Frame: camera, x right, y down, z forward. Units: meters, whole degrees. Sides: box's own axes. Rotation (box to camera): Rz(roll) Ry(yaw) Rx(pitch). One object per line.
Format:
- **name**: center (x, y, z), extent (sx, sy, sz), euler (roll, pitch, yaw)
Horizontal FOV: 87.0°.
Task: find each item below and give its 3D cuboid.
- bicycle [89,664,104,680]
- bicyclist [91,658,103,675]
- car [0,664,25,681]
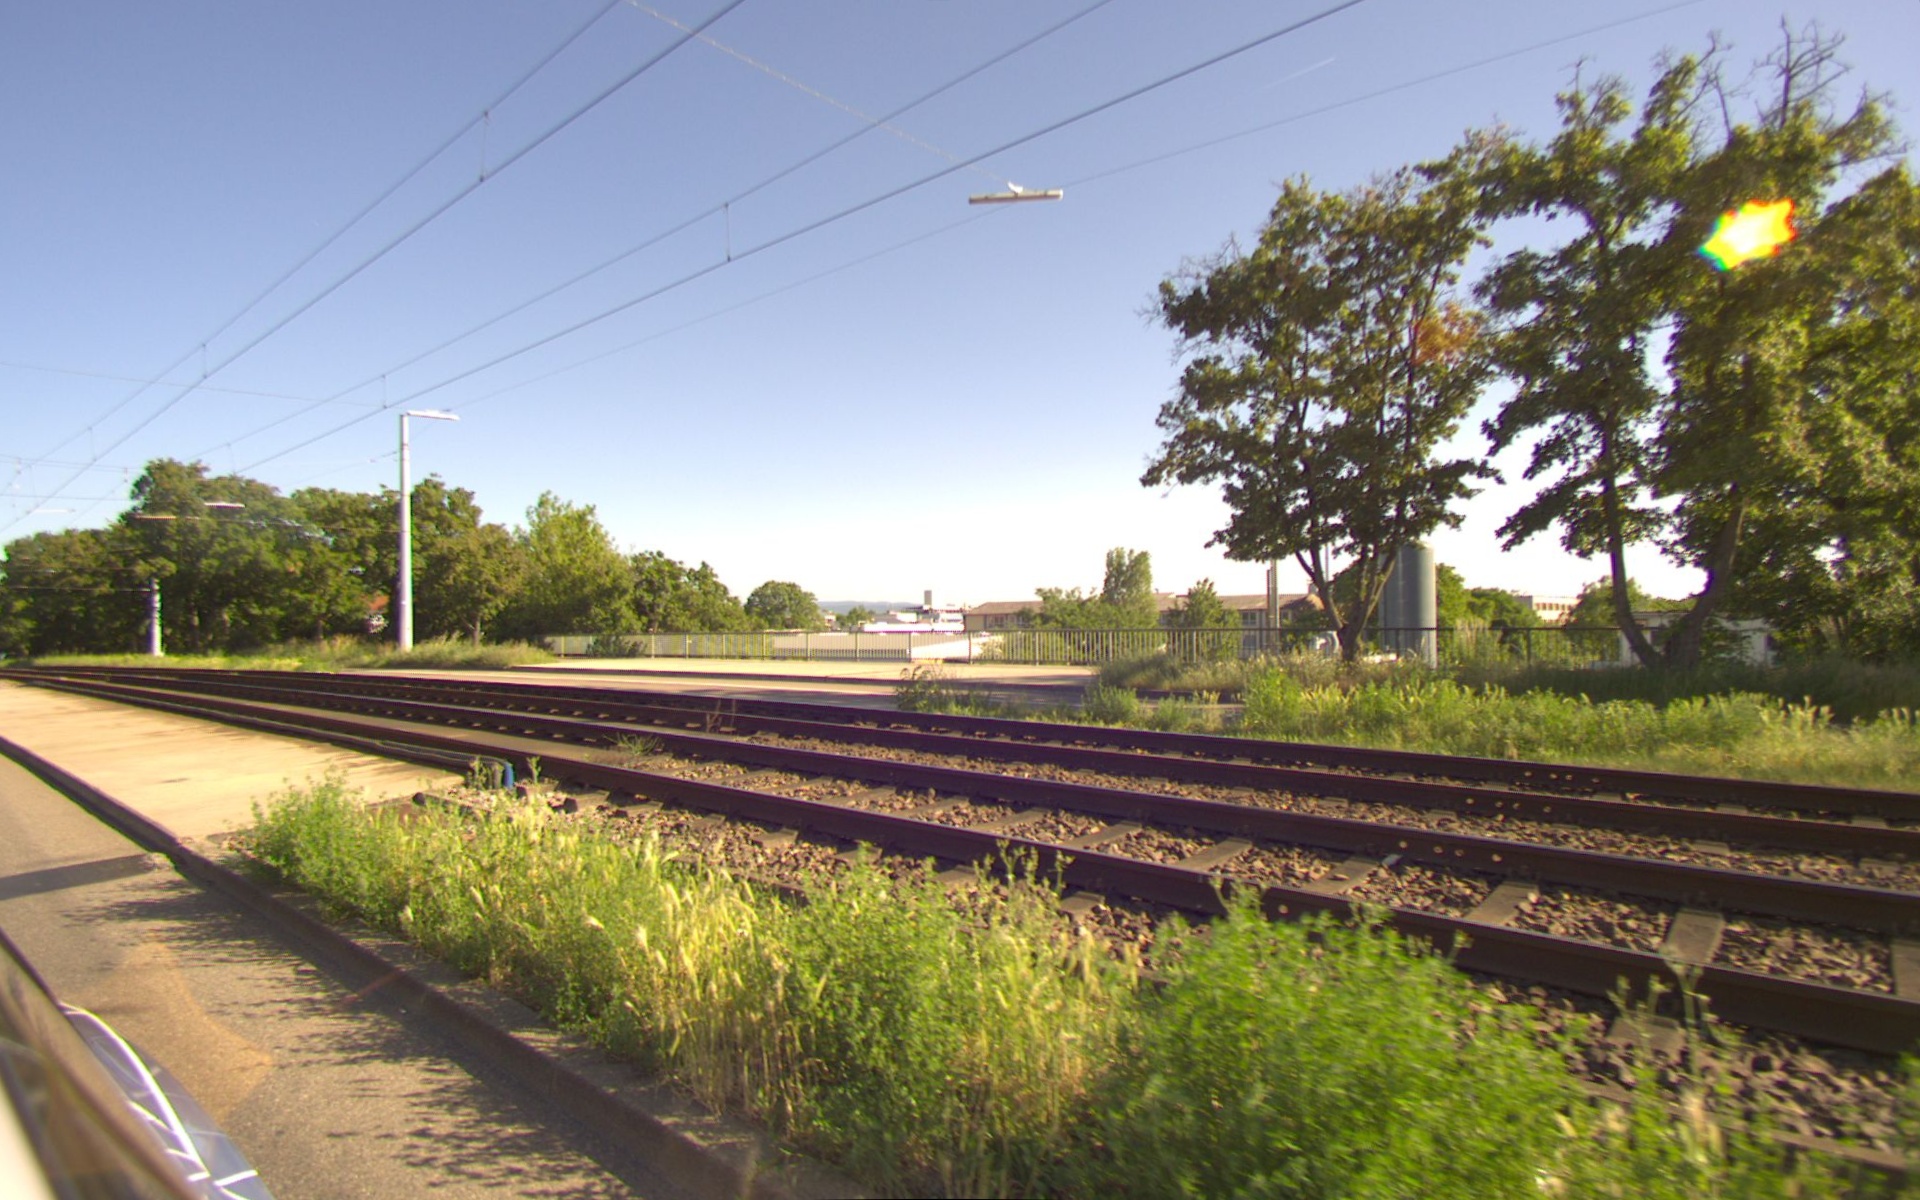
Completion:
- **bicycle**: center (-70.340, 5.868, 82.452), extent (2.426, 1.271, 0.583), euler (-4, -2, 42)
- **bicyclist**: center (-70.366, 5.411, 82.481), extent (0.987, 1.320, 0.576), euler (-4, -2, 42)
- **car**: center (-91.474, 6.975, 97.445), extent (4.405, 1.500, 1.790), euler (-4, -2, 42)
